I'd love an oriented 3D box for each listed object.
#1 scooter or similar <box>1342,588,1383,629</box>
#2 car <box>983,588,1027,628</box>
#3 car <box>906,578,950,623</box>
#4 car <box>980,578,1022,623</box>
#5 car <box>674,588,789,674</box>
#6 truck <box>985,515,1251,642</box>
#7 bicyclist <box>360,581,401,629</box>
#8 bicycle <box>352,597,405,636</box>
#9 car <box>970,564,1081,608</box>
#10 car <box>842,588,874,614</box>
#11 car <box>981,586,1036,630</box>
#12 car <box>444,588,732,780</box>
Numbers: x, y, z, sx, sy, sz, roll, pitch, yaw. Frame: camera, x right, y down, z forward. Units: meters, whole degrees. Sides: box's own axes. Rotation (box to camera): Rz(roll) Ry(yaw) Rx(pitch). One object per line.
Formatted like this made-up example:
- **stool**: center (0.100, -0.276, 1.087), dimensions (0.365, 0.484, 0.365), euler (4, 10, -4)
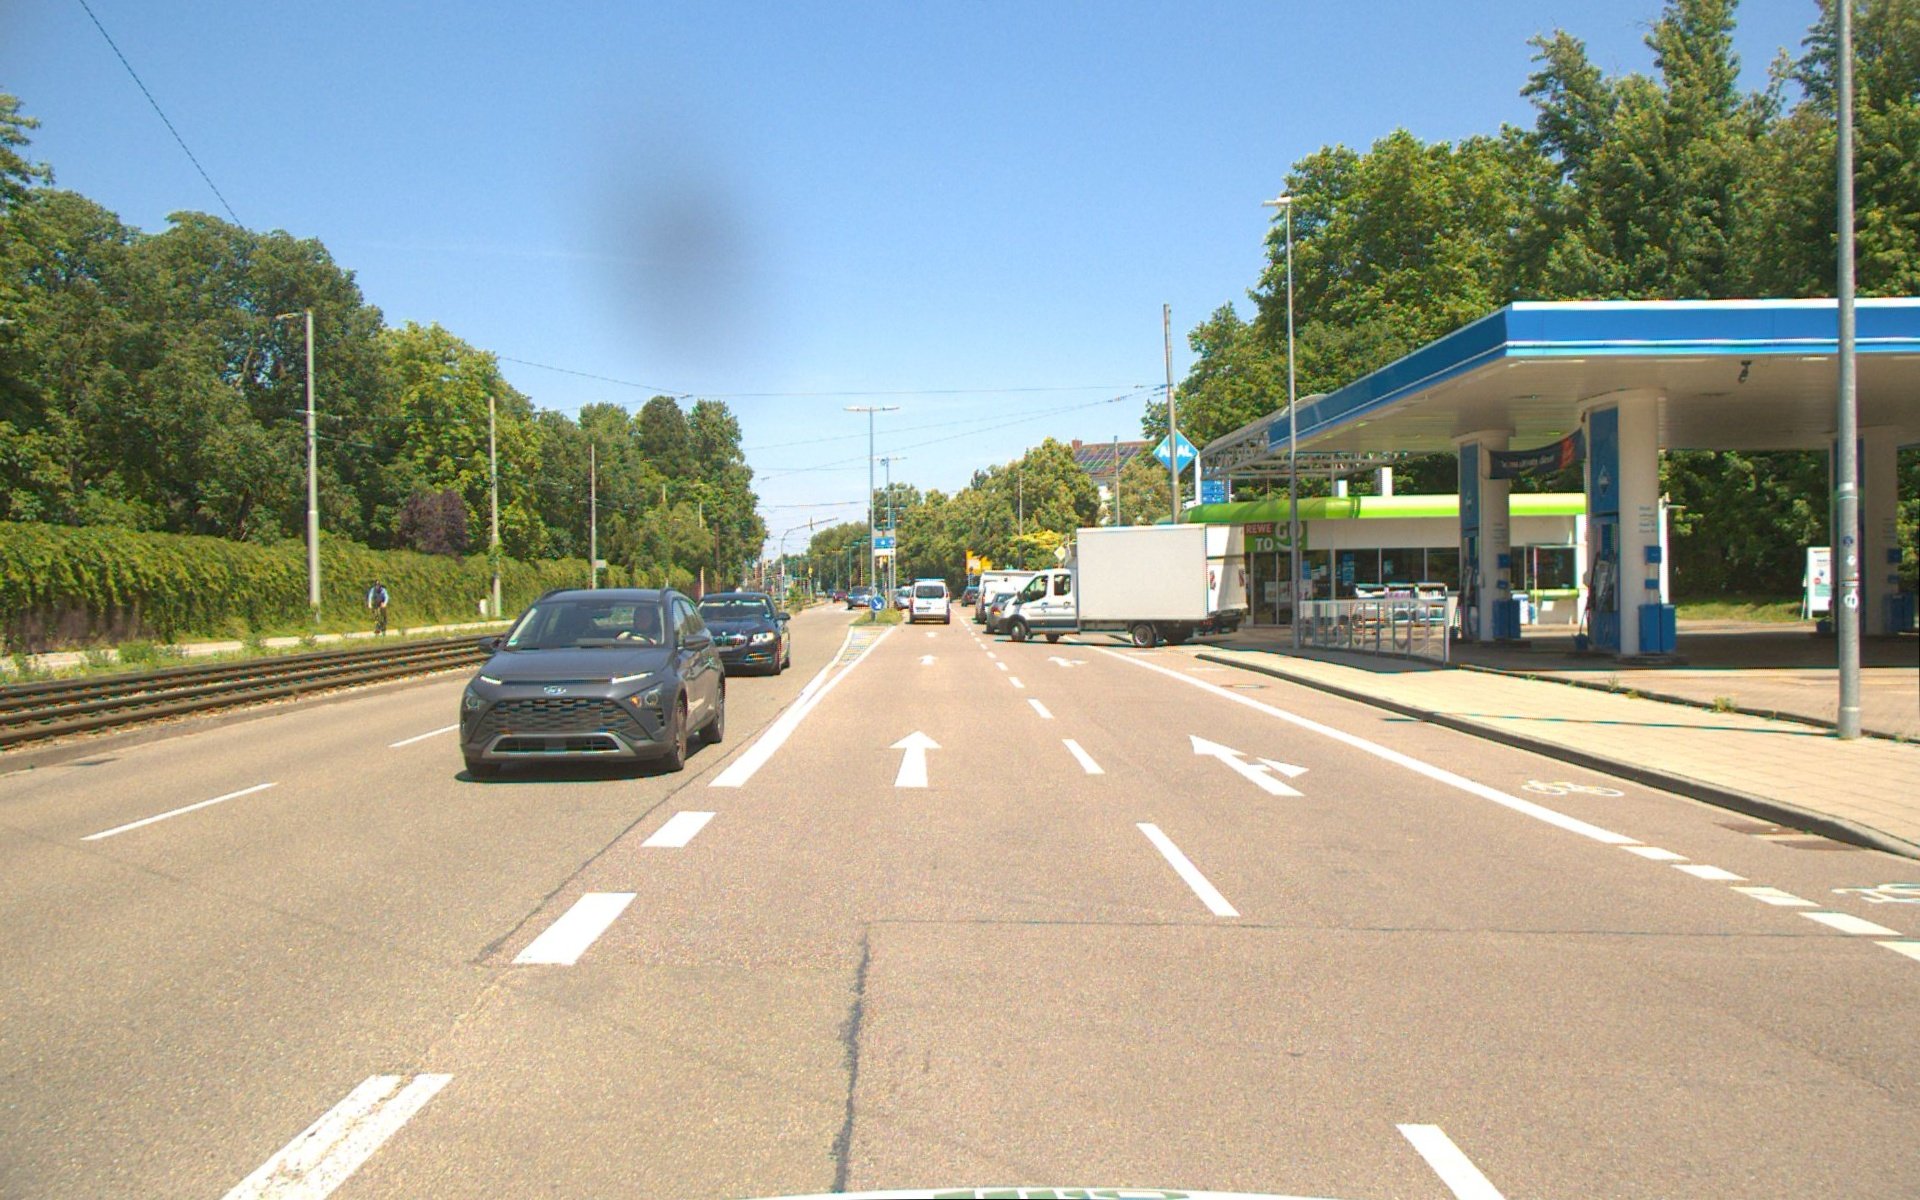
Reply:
- **scooter or similar**: center (11.992, 0.259, 49.312), dimensions (1.112, 1.197, 0.384), euler (-1, 0, -1)
- **car**: center (1.685, 0.288, 62.936), dimensions (1.574, 1.477, 3.520), euler (0, 0, 0)
- **car**: center (-1.394, -0.008, 71.196), dimensions (1.829, 1.868, 3.847), euler (0, 0, -2)
- **car**: center (1.760, -0.004, 72.160), dimensions (1.675, 1.862, 4.013), euler (-1, 0, -1)
- **car**: center (-4.082, 0.503, 30.124), dimensions (1.758, 1.424, 4.444), euler (-1, 1, -4)
- **truck**: center (4.493, -0.583, 48.346), dimensions (7.683, 3.451, 2.416), euler (0, 0, 39)
- **bicyclist**: center (-18.592, 0.159, 53.063), dimensions (0.974, 1.512, 1.000), euler (-1, 0, -2)
- **bicycle**: center (-18.589, 0.517, 52.963), dimensions (0.811, 1.176, 2.684), euler (-1, 1, -2)
- **car**: center (3.948, -0.820, 99.527), dimensions (6.076, 2.560, 2.704), euler (0, 0, 24)
- **car**: center (-7.708, 0.082, 124.312), dimensions (1.957, 1.861, 4.530), euler (-1, 1, -9)
- **car**: center (1.658, 0.245, 57.813), dimensions (1.735, 1.445, 3.999), euler (-1, 0, -1)
- **car**: center (-3.130, 0.626, 14.723), dimensions (1.678, 1.447, 4.141), euler (-1, 0, -1)
